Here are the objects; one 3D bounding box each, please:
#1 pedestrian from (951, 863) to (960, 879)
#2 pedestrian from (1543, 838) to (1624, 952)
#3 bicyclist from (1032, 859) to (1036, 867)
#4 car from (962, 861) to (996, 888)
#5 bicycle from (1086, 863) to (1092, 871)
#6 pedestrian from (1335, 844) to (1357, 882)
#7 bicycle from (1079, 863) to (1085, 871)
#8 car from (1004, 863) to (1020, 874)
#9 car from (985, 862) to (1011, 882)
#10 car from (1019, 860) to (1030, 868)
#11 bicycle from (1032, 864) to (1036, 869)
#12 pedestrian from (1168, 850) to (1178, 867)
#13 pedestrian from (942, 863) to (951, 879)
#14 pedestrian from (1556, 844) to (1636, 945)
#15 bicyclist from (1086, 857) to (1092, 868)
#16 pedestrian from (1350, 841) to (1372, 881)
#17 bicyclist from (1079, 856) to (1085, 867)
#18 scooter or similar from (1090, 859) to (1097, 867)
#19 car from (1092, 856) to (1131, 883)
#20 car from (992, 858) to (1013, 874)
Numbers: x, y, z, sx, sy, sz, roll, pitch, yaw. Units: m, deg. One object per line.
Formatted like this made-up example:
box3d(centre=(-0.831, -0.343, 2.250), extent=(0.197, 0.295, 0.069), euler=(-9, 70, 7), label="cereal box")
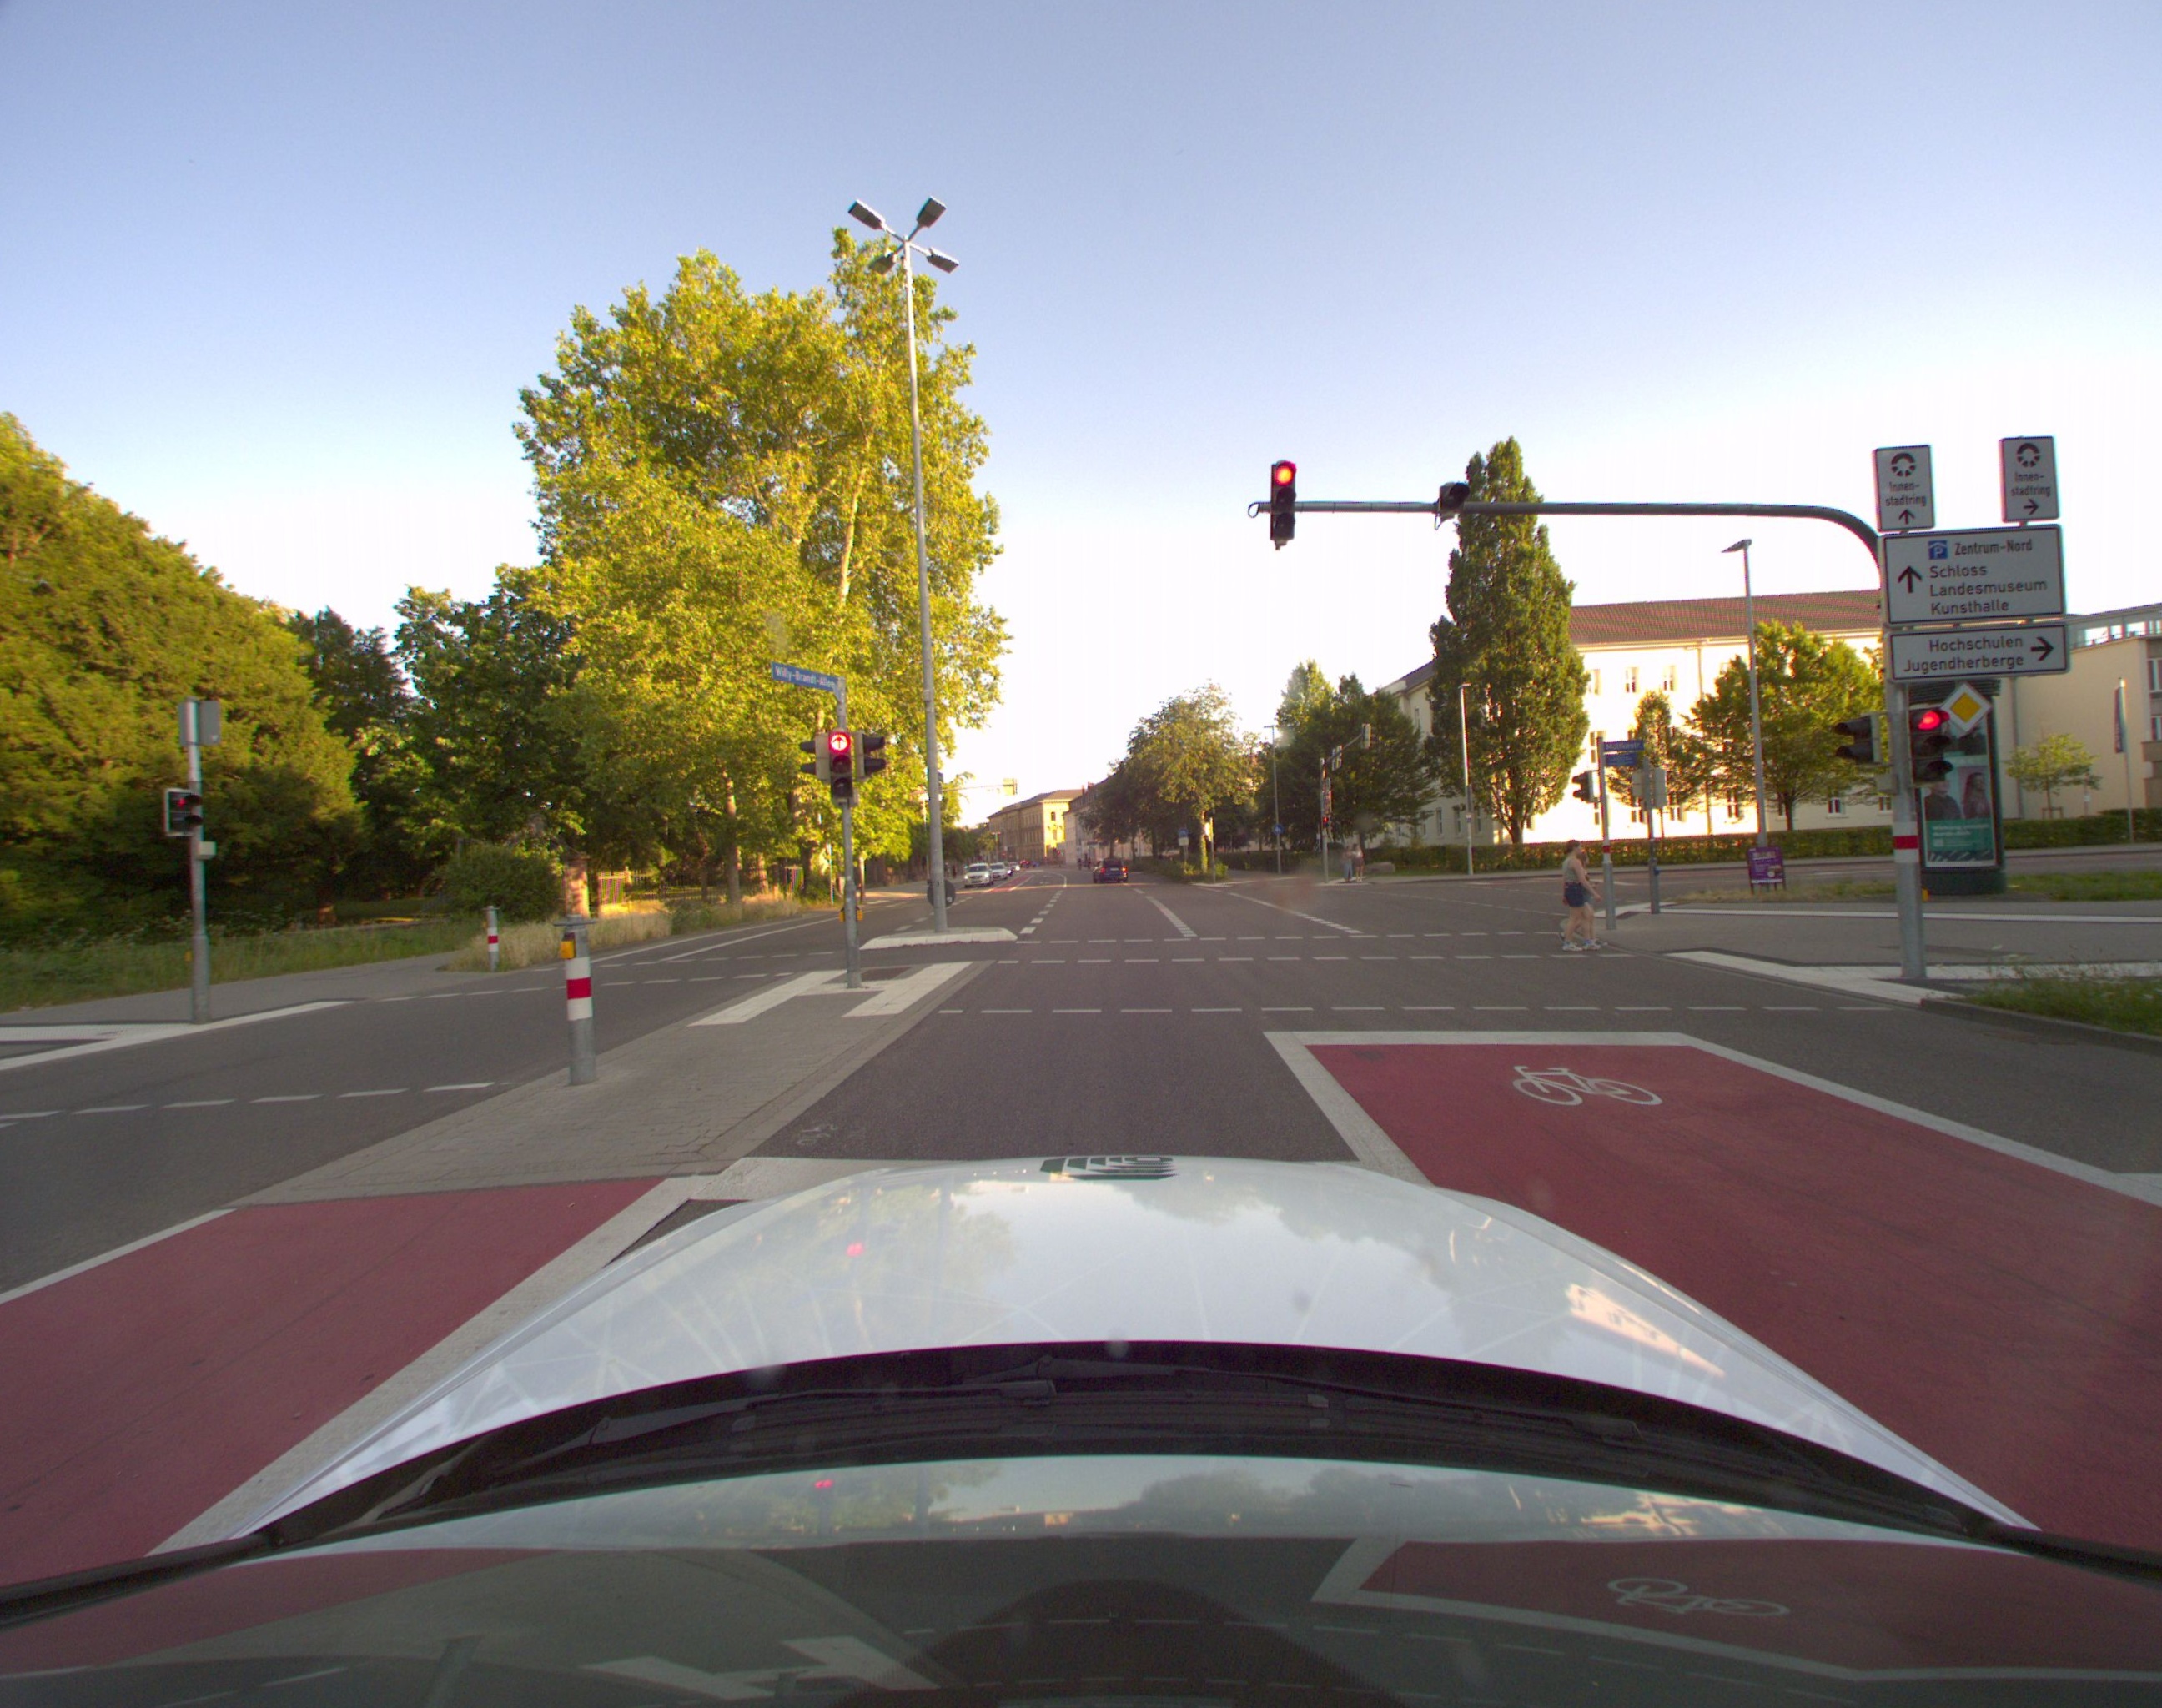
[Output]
box3d(centre=(-13.358, 1.816, 86.596), extent=(0.678, 1.622, 0.689), euler=(-3, 0, 1), label="pedestrian")
box3d(centre=(7.658, 0.615, 12.454), extent=(0.769, 1.660, 0.723), euler=(-3, 0, 9), label="pedestrian")
box3d(centre=(-10.059, 2.018, 173.841), extent=(0.651, 1.698, 0.954), euler=(0, -1, -8), label="bicyclist")
box3d(centre=(-7.304, 1.431, 58.705), extent=(1.912, 1.695, 4.422), euler=(-5, 0, -2), label="car")
box3d(centre=(1.038, 1.646, 105.238), extent=(0.650, 1.015, 2.195), euler=(0, -1, -3), label="bicycle")
box3d(centre=(11.933, 0.399, 36.734), extent=(0.678, 1.622, 0.845), euler=(-3, 0, 1), label="pedestrian")
box3d(centre=(0.110, 1.636, 104.630), extent=(0.650, 1.015, 2.195), euler=(0, -1, -3), label="bicycle")
box3d(centre=(-10.139, 2.059, 119.941), extent=(1.912, 1.417, 4.766), euler=(-5, 0, -2), label="car")
box3d(centre=(-7.476, 1.600, 73.347), extent=(1.912, 1.583, 4.670), euler=(-5, 0, -2), label="car")
box3d(centre=(-11.885, 2.125, 170.555), extent=(1.915, 1.417, 4.756), euler=(-5, 0, -8), label="car")
box3d(centre=(-10.064, 2.582, 173.895), extent=(0.651, 1.015, 2.191), euler=(0, -1, -8), label="bicycle")
box3d(centre=(9.958, 0.472, 88.020), extent=(0.769, 1.739, 0.805), euler=(-3, 0, -8), label="pedestrian")
box3d(centre=(-14.308, 1.822, 86.530), extent=(0.678, 1.622, 0.689), euler=(-3, 0, 1), label="pedestrian")
box3d(centre=(8.188, 0.629, 12.980), extent=(0.782, 1.523, 0.739), euler=(-3, 0, 9), label="pedestrian")
box3d(centre=(1.041, 1.108, 105.203), extent=(0.650, 1.475, 0.940), euler=(0, -1, -3), label="bicyclist")
box3d(centre=(12.635, 0.325, 36.725), extent=(0.678, 1.754, 0.689), euler=(-3, 0, 1), label="pedestrian")
box3d(centre=(0.116, 0.977, 104.543), extent=(0.650, 1.446, 0.878), euler=(0, -1, -3), label="bicyclist")
box3d(centre=(2.257, 1.646, 145.508), extent=(0.630, 1.337, 2.390), euler=(-2, -1, -12), label="scooter or similar")
box3d(centre=(1.810, 0.915, 49.686), extent=(1.864, 1.510, 3.994), euler=(-3, 0, -4), label="car")
box3d(centre=(-8.468, 1.283, 88.435), extent=(1.912, 1.624, 4.635), euler=(-5, 0, -2), label="car")
